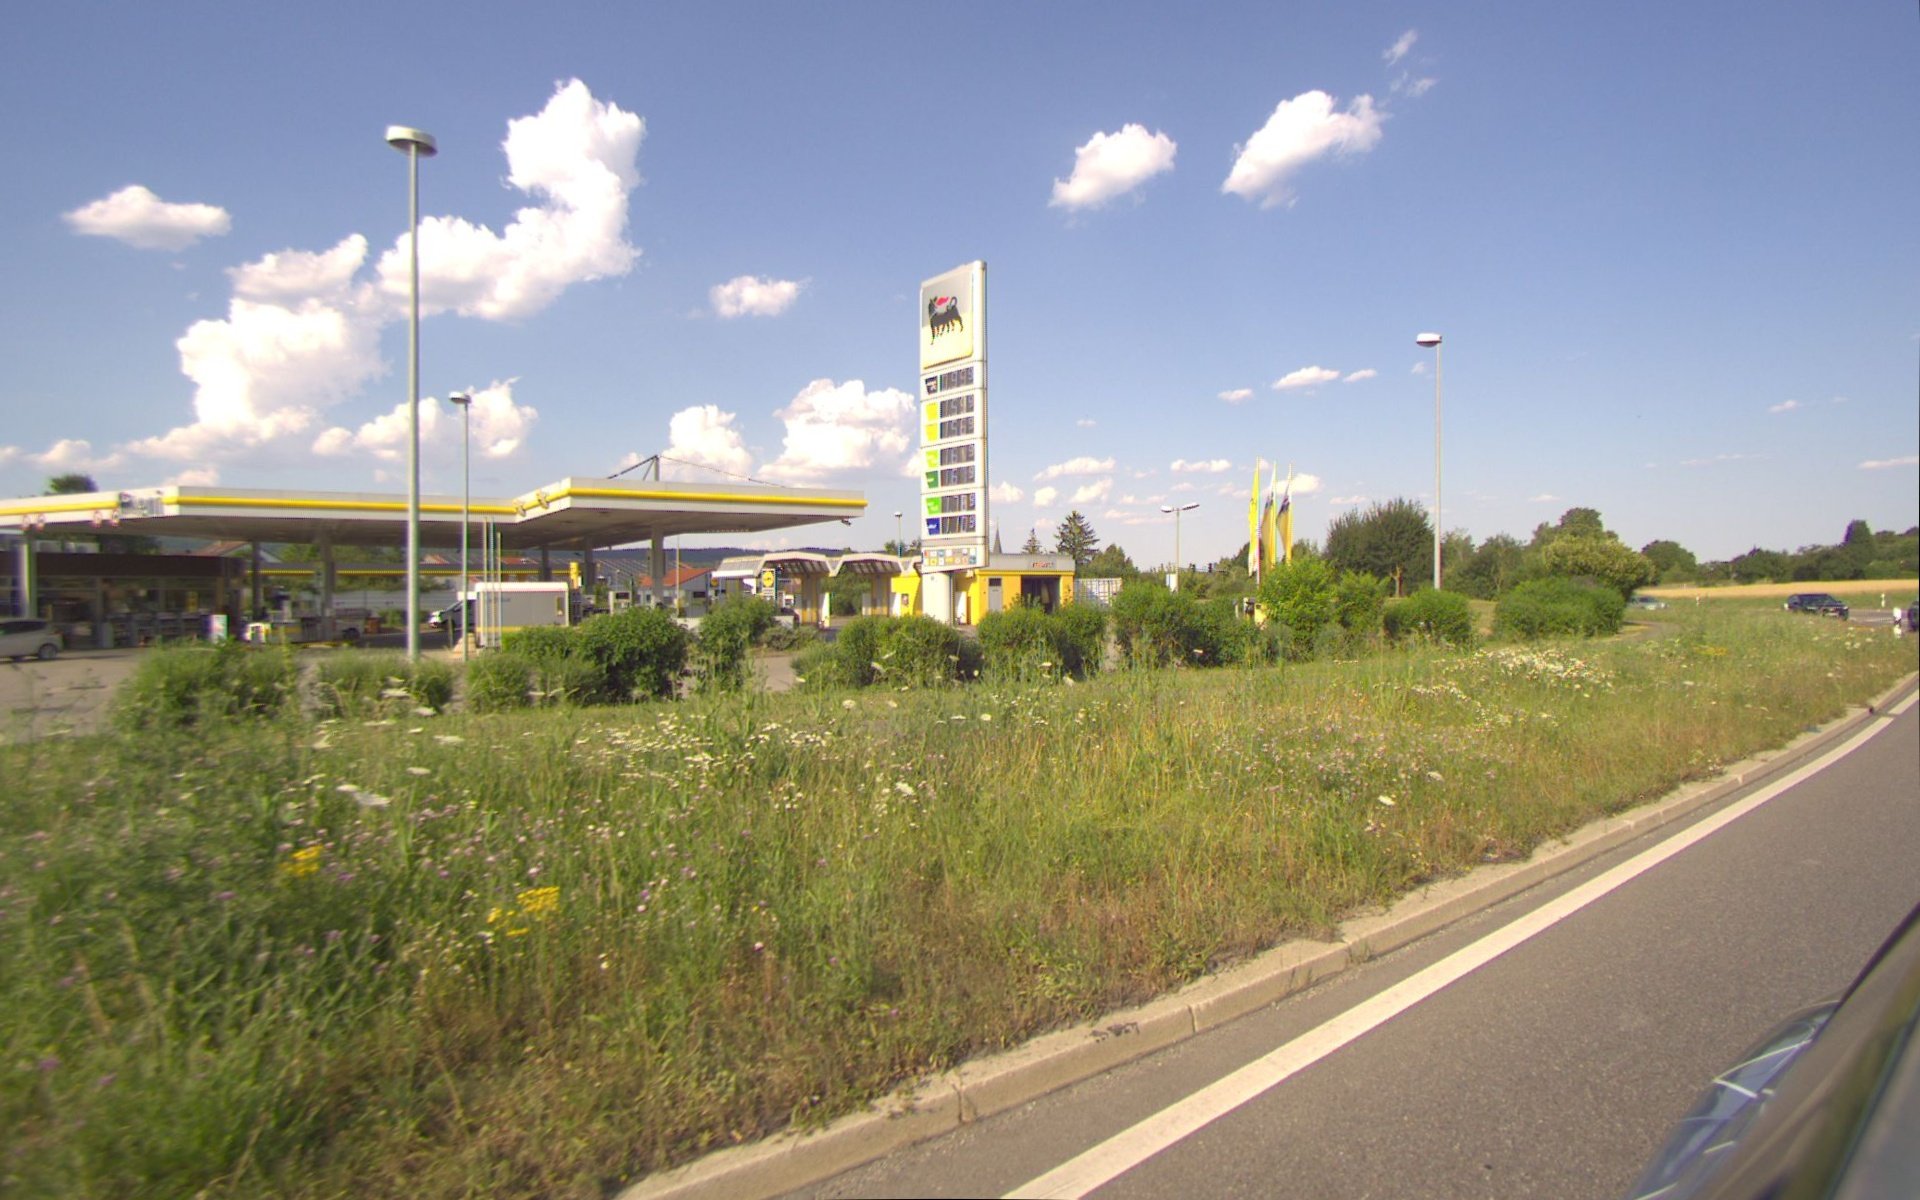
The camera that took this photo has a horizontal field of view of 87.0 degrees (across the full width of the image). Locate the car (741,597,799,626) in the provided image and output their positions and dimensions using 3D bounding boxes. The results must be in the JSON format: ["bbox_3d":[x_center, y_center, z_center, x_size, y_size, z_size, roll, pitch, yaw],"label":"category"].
[{"bbox_3d":[-10.768,0.647,57.162,1.768,1.558,4.345,-1,-1,-31],"label":"car"}]

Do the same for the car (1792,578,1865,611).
[{"bbox_3d":[46.979,-0.296,54.835,1.757,1.633,4.509,-3,-1,25],"label":"car"}]

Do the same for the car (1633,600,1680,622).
[{"bbox_3d":[51.845,0.787,75.358,1.494,1.525,2.752,-3,-1,-1],"label":"car"}]

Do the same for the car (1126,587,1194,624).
[{"bbox_3d":[12.627,0.350,63.889,3.663,2.141,1.898,-3,-1,34],"label":"car"}]

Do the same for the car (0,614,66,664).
[{"bbox_3d":[-34.609,1.410,36.039,1.729,1.740,3.882,-2,-1,12],"label":"car"}]
